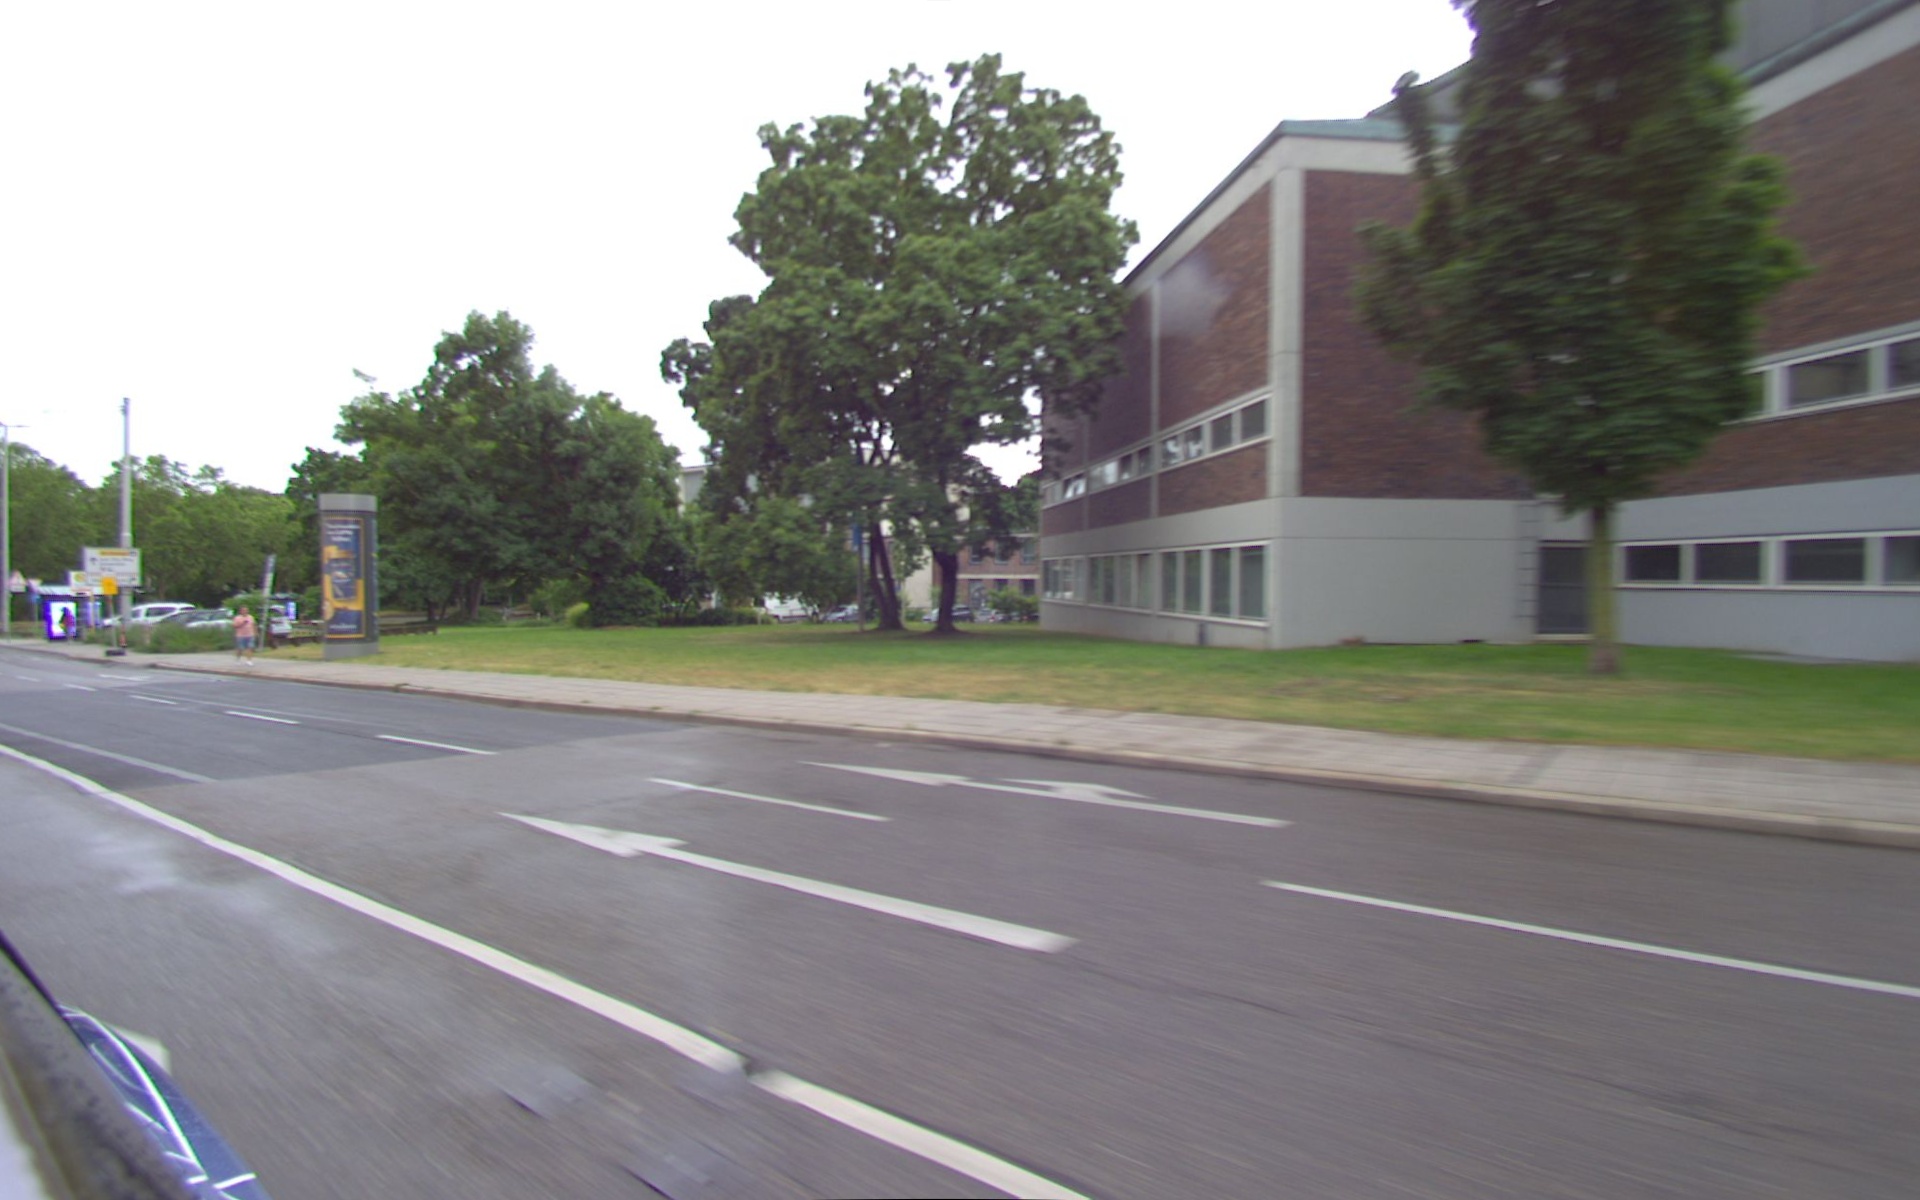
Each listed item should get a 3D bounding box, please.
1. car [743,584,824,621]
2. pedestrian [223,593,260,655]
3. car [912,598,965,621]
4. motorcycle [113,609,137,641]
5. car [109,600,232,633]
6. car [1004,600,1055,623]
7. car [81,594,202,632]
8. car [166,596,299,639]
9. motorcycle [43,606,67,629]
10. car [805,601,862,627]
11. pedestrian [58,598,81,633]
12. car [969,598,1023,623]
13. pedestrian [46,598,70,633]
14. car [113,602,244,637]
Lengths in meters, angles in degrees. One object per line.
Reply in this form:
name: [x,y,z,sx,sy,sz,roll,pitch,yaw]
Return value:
car: [-14.404,0.127,82.841,2.739,2.781,6.128,0,2,42]
pedestrian: [-20.391,0.666,28.723,0.662,1.699,0.914,-3,2,-44]
car: [-1.508,0.653,71.677,1.779,1.385,3.889,0,2,35]
motorcycle: [-34.547,1.037,41.845,1.266,1.256,0.509,0,2,40]
car: [-38.186,0.793,49.103,4.305,1.359,1.911,-2,2,-22]
car: [4.644,0.727,67.041,1.651,1.360,3.805,0,2,35]
car: [-43.856,0.678,54.336,4.647,1.768,2.021,-2,2,-10]
car: [-30.993,0.739,43.184,4.469,1.621,1.866,-1,2,5]
motorcycle: [-50.906,0.991,56.951,1.260,1.256,0.512,0,2,25]
car: [-9.505,1.028,76.417,1.998,1.763,3.949,-1,1,38]
pedestrian: [-43.906,0.770,49.908,0.640,1.708,0.622,0,2,31]
car: [2.487,0.674,68.920,1.794,1.530,3.953,0,2,35]
pedestrian: [-44.630,0.758,50.080,0.670,1.708,0.679,0,2,31]
car: [-36.337,0.860,47.203,4.505,1.359,1.911,-2,2,-27]
